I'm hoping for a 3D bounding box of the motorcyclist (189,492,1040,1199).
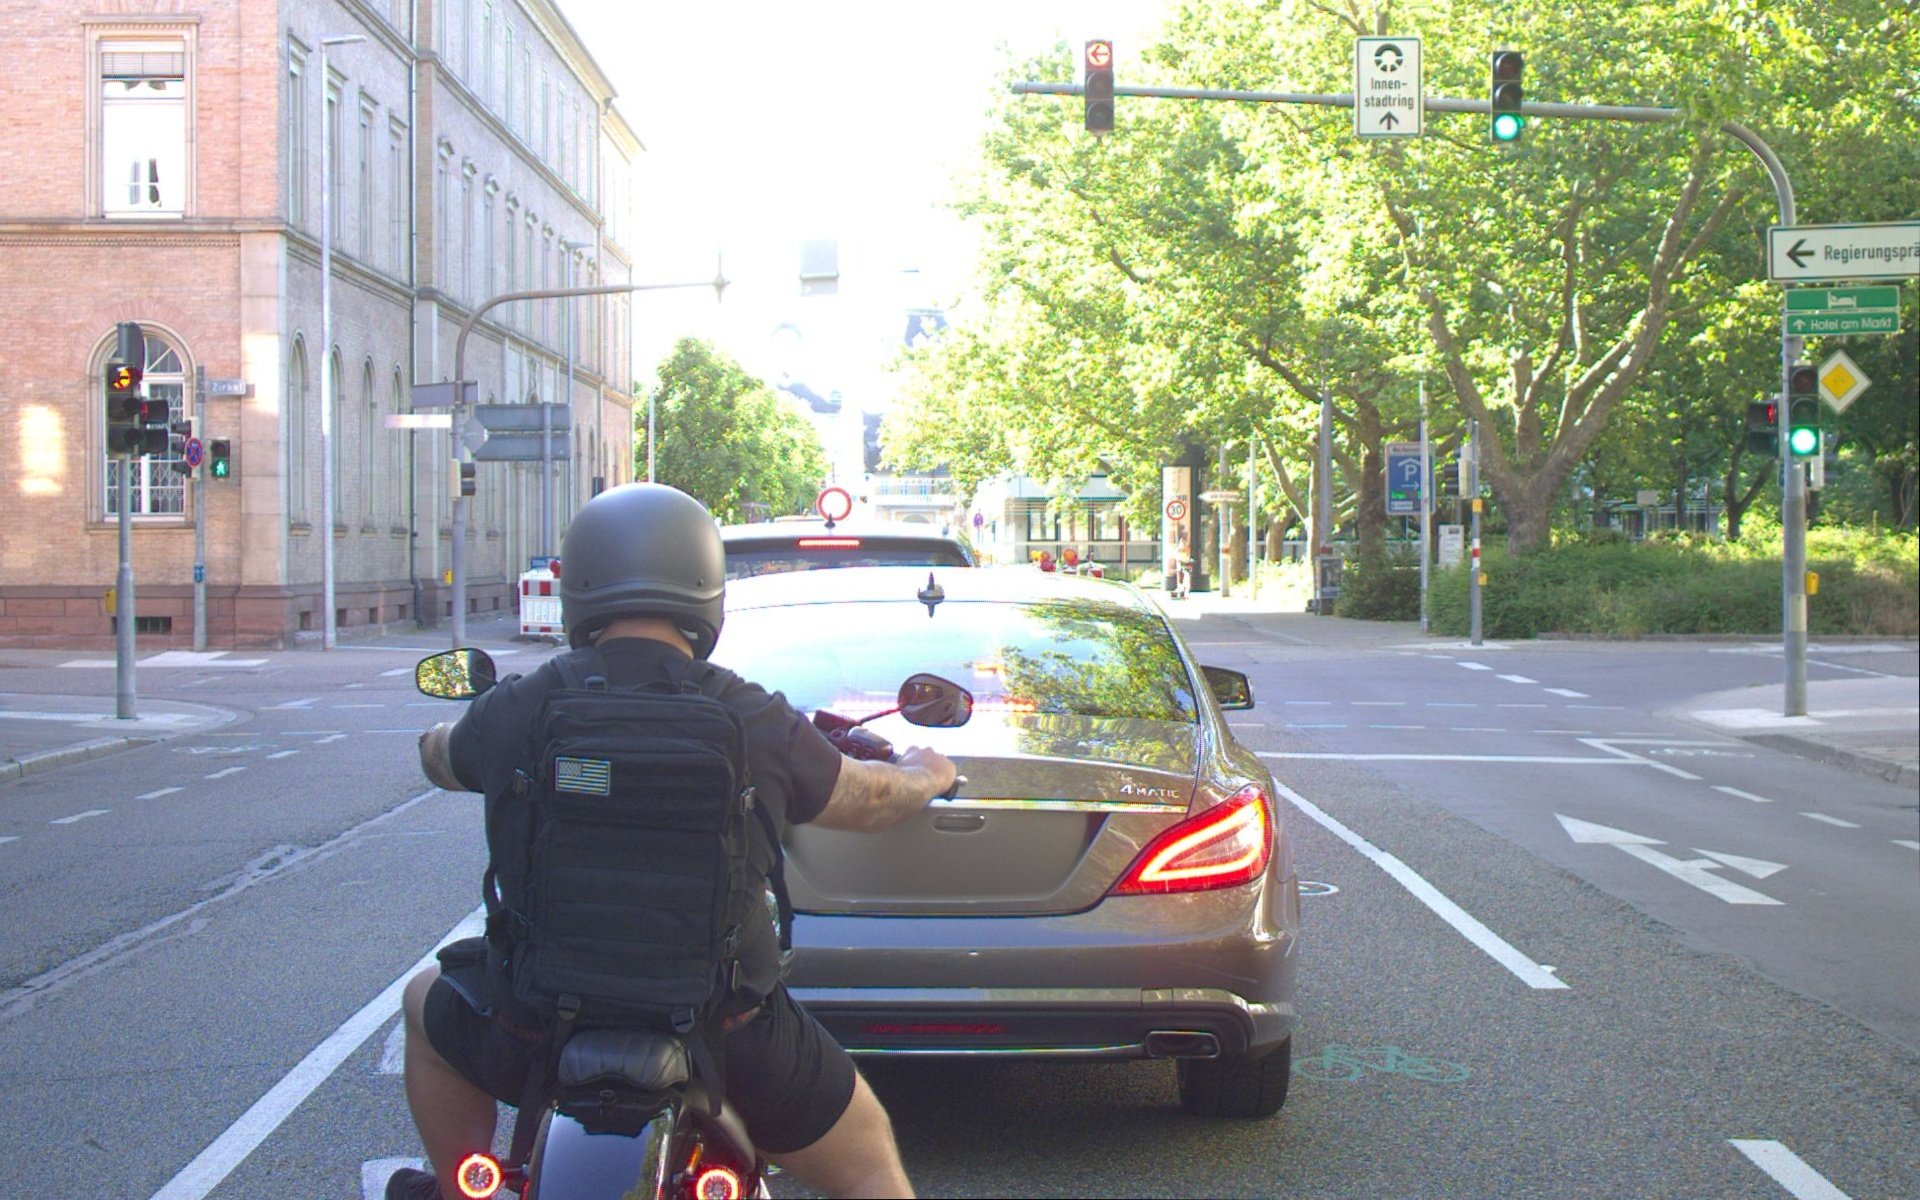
[{"bbox_3d":[-0.478,0.632,5.297,1.099,1.560,1.071,1,0,6],"label":"motorcyclist"}]

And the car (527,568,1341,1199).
[{"bbox_3d":[-0.080,0.638,9.685,1.822,1.432,3.806,1,1,-1],"label":"car"}]

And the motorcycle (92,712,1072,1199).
[{"bbox_3d":[-0.463,0.836,5.521,1.118,1.203,2.212,1,1,6],"label":"motorcycle"}]

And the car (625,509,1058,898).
[{"bbox_3d":[-0.539,0.431,16.963,1.863,1.672,4.000,1,1,-1],"label":"car"}]
